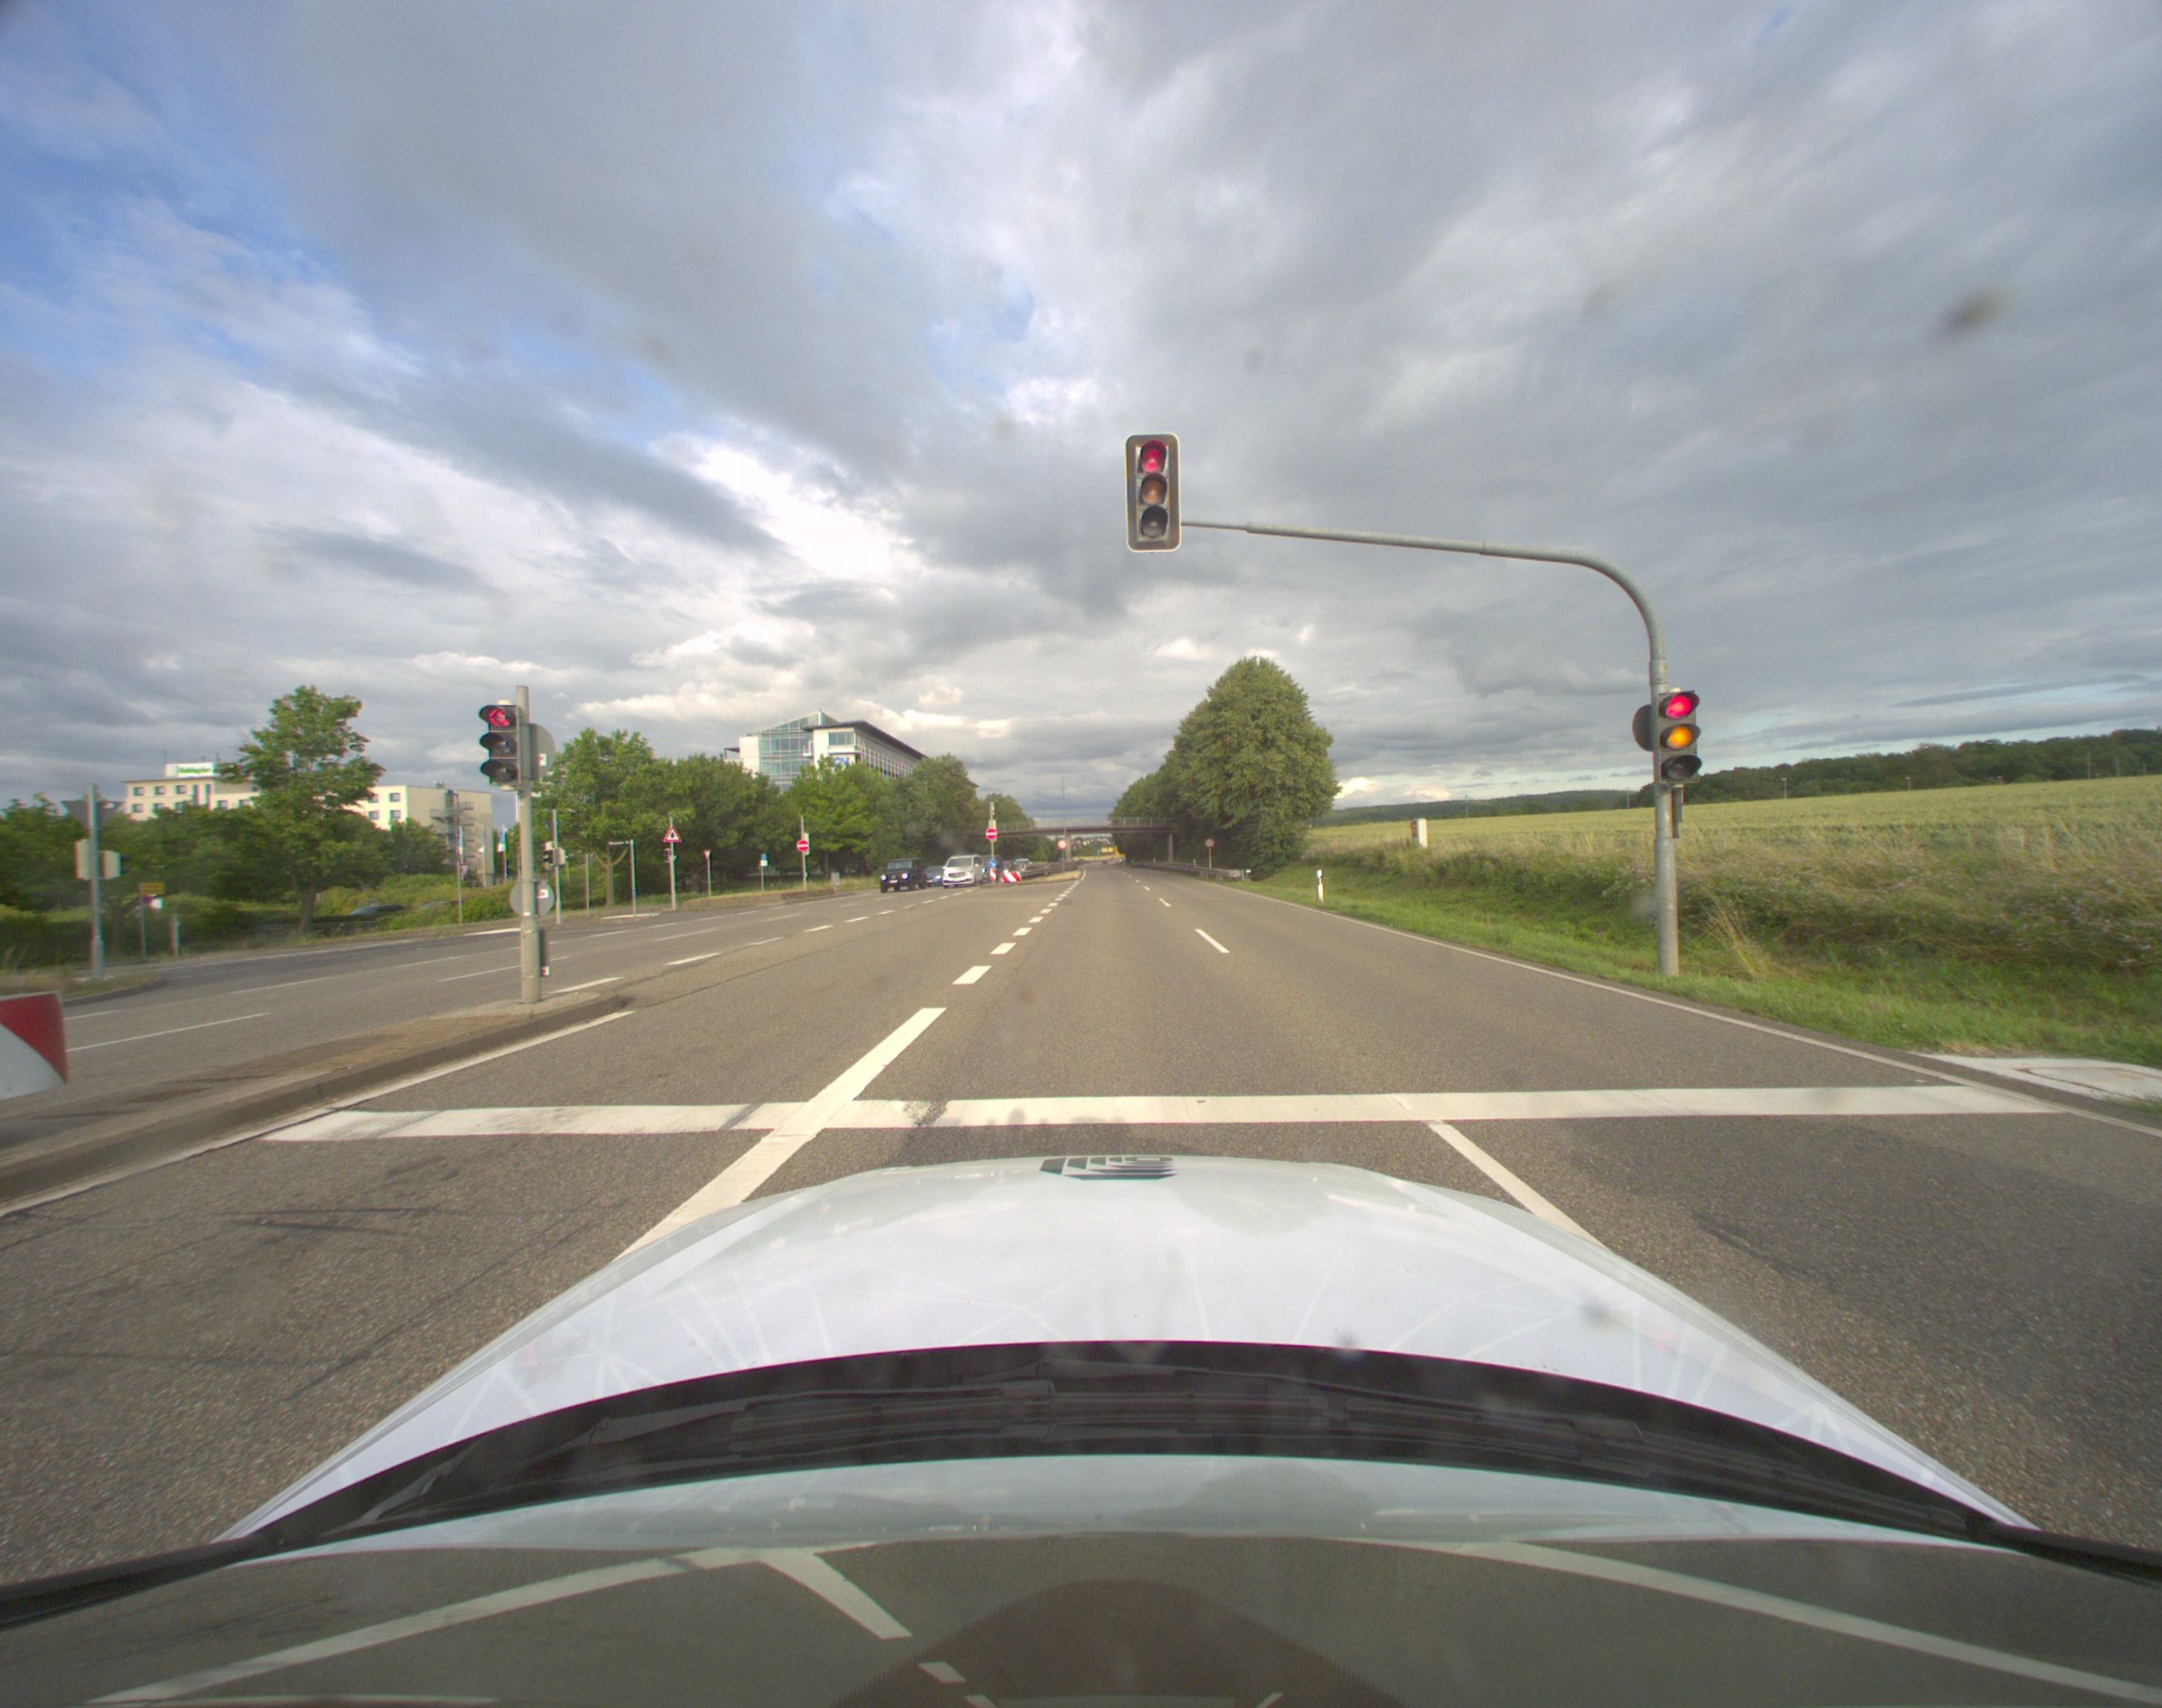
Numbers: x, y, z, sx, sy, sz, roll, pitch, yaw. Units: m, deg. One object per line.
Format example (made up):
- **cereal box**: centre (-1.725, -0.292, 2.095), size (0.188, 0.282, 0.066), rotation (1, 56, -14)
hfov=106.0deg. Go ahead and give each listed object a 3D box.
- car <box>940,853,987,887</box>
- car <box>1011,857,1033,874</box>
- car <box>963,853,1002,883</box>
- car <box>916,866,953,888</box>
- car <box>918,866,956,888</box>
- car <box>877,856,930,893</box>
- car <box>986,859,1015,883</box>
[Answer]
- **car**: centre (-7.127, 0.967, 49.887), size (1.927, 1.872, 5.348), rotation (-3, -1, 1)
- **car**: centre (-6.176, 1.181, 85.846), size (1.817, 1.584, 4.791), rotation (-4, 0, 1)
- **car**: centre (-6.890, 0.975, 57.444), size (1.891, 1.917, 5.053), rotation (-3, -1, 2)
- **car**: centre (-10.133, 1.590, 56.563), size (1.715, 1.240, 4.001), rotation (-5, 0, 1)
- **car**: centre (-9.991, 1.571, 56.643), size (1.641, 1.388, 4.188), rotation (-3, -1, 2)
- **car**: centre (-10.772, 1.209, 49.740), size (1.927, 1.990, 5.092), rotation (-3, -1, 1)
- **car**: centre (-6.363, 1.323, 64.908), size (1.707, 1.589, 4.555), rotation (-5, 0, 1)
